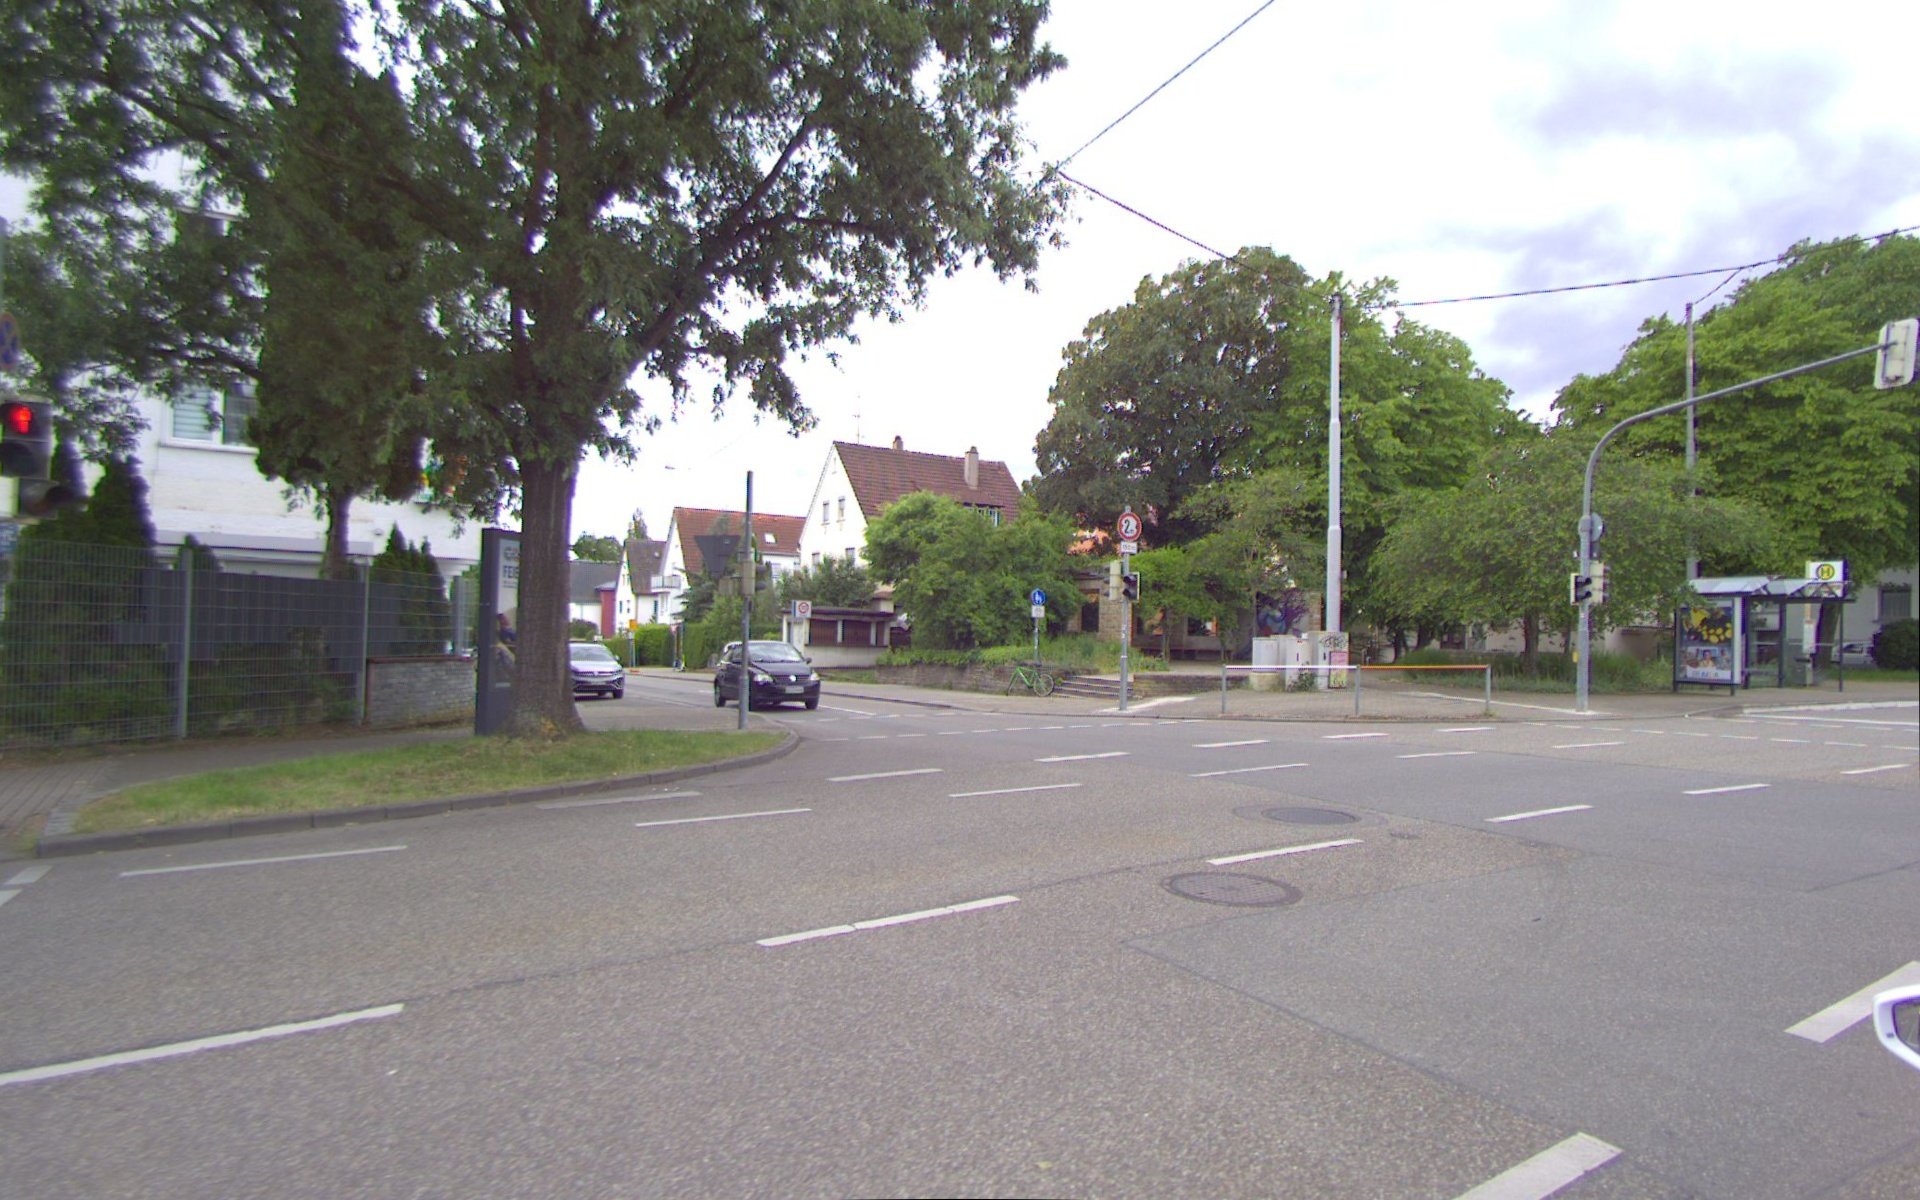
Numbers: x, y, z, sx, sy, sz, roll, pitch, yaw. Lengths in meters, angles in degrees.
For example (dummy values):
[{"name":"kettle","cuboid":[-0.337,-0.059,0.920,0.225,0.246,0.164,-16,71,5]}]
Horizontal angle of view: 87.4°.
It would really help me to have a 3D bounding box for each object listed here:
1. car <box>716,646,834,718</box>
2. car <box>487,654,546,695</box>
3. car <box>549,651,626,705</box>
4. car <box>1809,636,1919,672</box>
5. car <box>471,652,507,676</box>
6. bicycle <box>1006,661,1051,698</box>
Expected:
[{"name":"car","cuboid":[-4.327,1.807,23.083,1.749,1.417,3.621,0,-1,-27]},{"name":"car","cuboid":[-17.102,2.838,38.689,1.807,1.458,3.620,0,-4,-28]},{"name":"car","cuboid":[-10.982,2.258,29.477,1.734,1.417,3.622,0,-3,-27]},{"name":"car","cuboid":[36.745,2.172,40.138,1.699,1.349,3.976,2,-4,-25]},{"name":"car","cuboid":[-31.246,4.242,66.554,1.773,1.480,4.381,0,-3,-31]},{"name":"bicycle","cuboid":[1.840,2.147,27.161,0.422,0.954,1.302,2,-5,-41]}]
